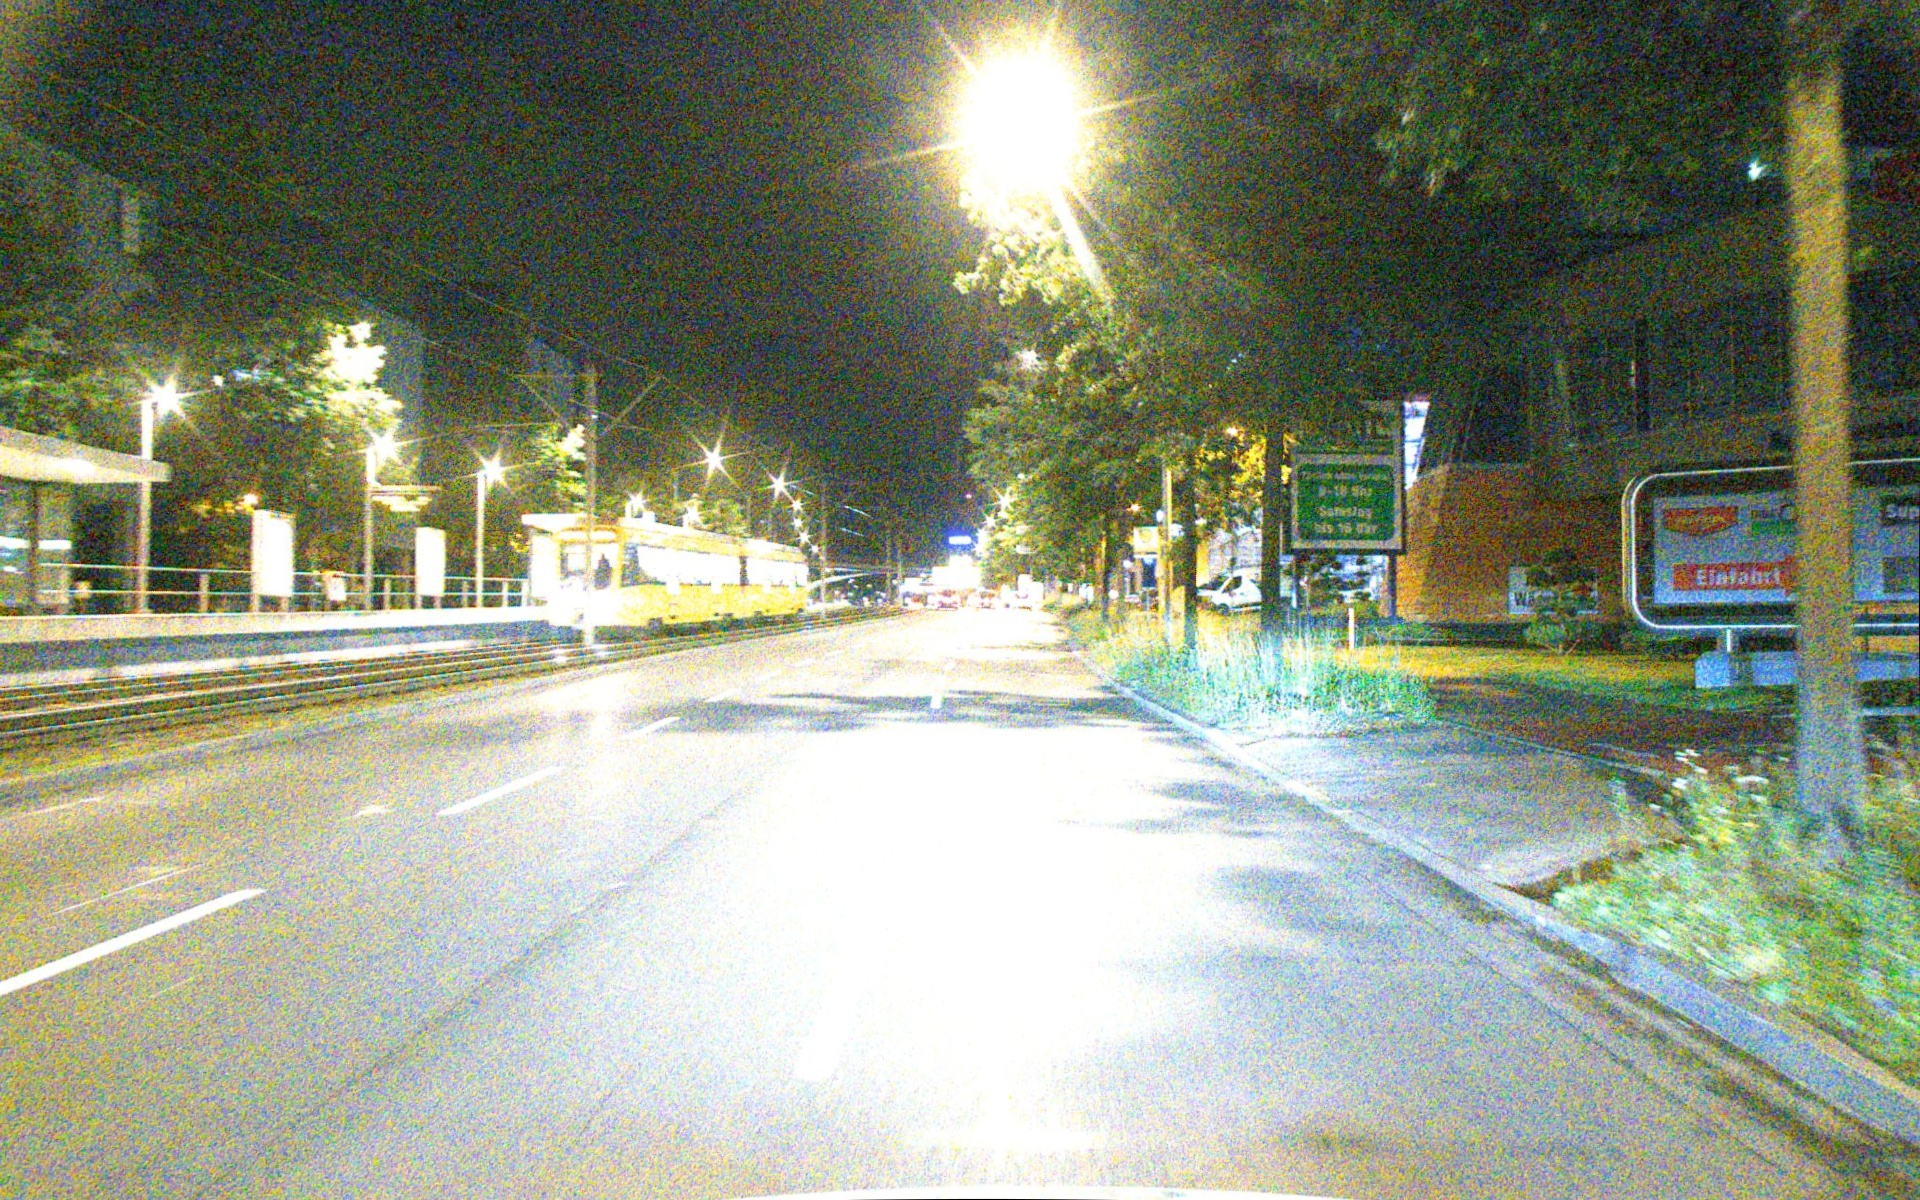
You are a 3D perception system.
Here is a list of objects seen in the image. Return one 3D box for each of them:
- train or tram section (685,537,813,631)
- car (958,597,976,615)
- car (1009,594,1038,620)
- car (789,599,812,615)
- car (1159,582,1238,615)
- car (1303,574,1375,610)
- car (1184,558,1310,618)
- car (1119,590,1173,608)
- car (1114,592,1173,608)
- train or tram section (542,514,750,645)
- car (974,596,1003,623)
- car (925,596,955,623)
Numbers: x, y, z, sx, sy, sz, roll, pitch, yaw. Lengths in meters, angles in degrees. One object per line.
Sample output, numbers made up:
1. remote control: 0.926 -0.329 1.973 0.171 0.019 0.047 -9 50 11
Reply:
1. train or tram section: -9.647 -0.667 78.329 2.701 3.894 18.677 1 0 3
2. car: 0.749 0.619 175.687 1.848 1.892 4.000 1 0 1
3. car: 5.460 0.638 142.489 2.377 2.150 4.826 1 0 1
4. car: -15.330 0.651 159.363 1.625 1.543 3.912 1 0 3
5. car: 13.914 -0.086 96.467 4.125 1.692 1.957 -3 0 -9
6. car: 19.885 -0.395 86.835 1.779 1.742 3.943 -2 0 -20
7. car: 15.005 -0.637 86.542 5.919 2.572 2.274 -5 1 -15
8. car: 15.125 -0.111 134.639 3.922 1.448 1.901 0 1 -16
9. car: 15.268 0.029 137.359 4.567 1.286 1.934 0 1 -24
10. train or tram section: -10.648 -0.628 59.286 2.681 3.913 19.371 1 0 3
11. car: 2.332 0.773 134.920 2.307 2.166 4.826 1 0 1
12. car: -1.551 0.741 129.897 2.216 2.049 4.826 1 0 1
